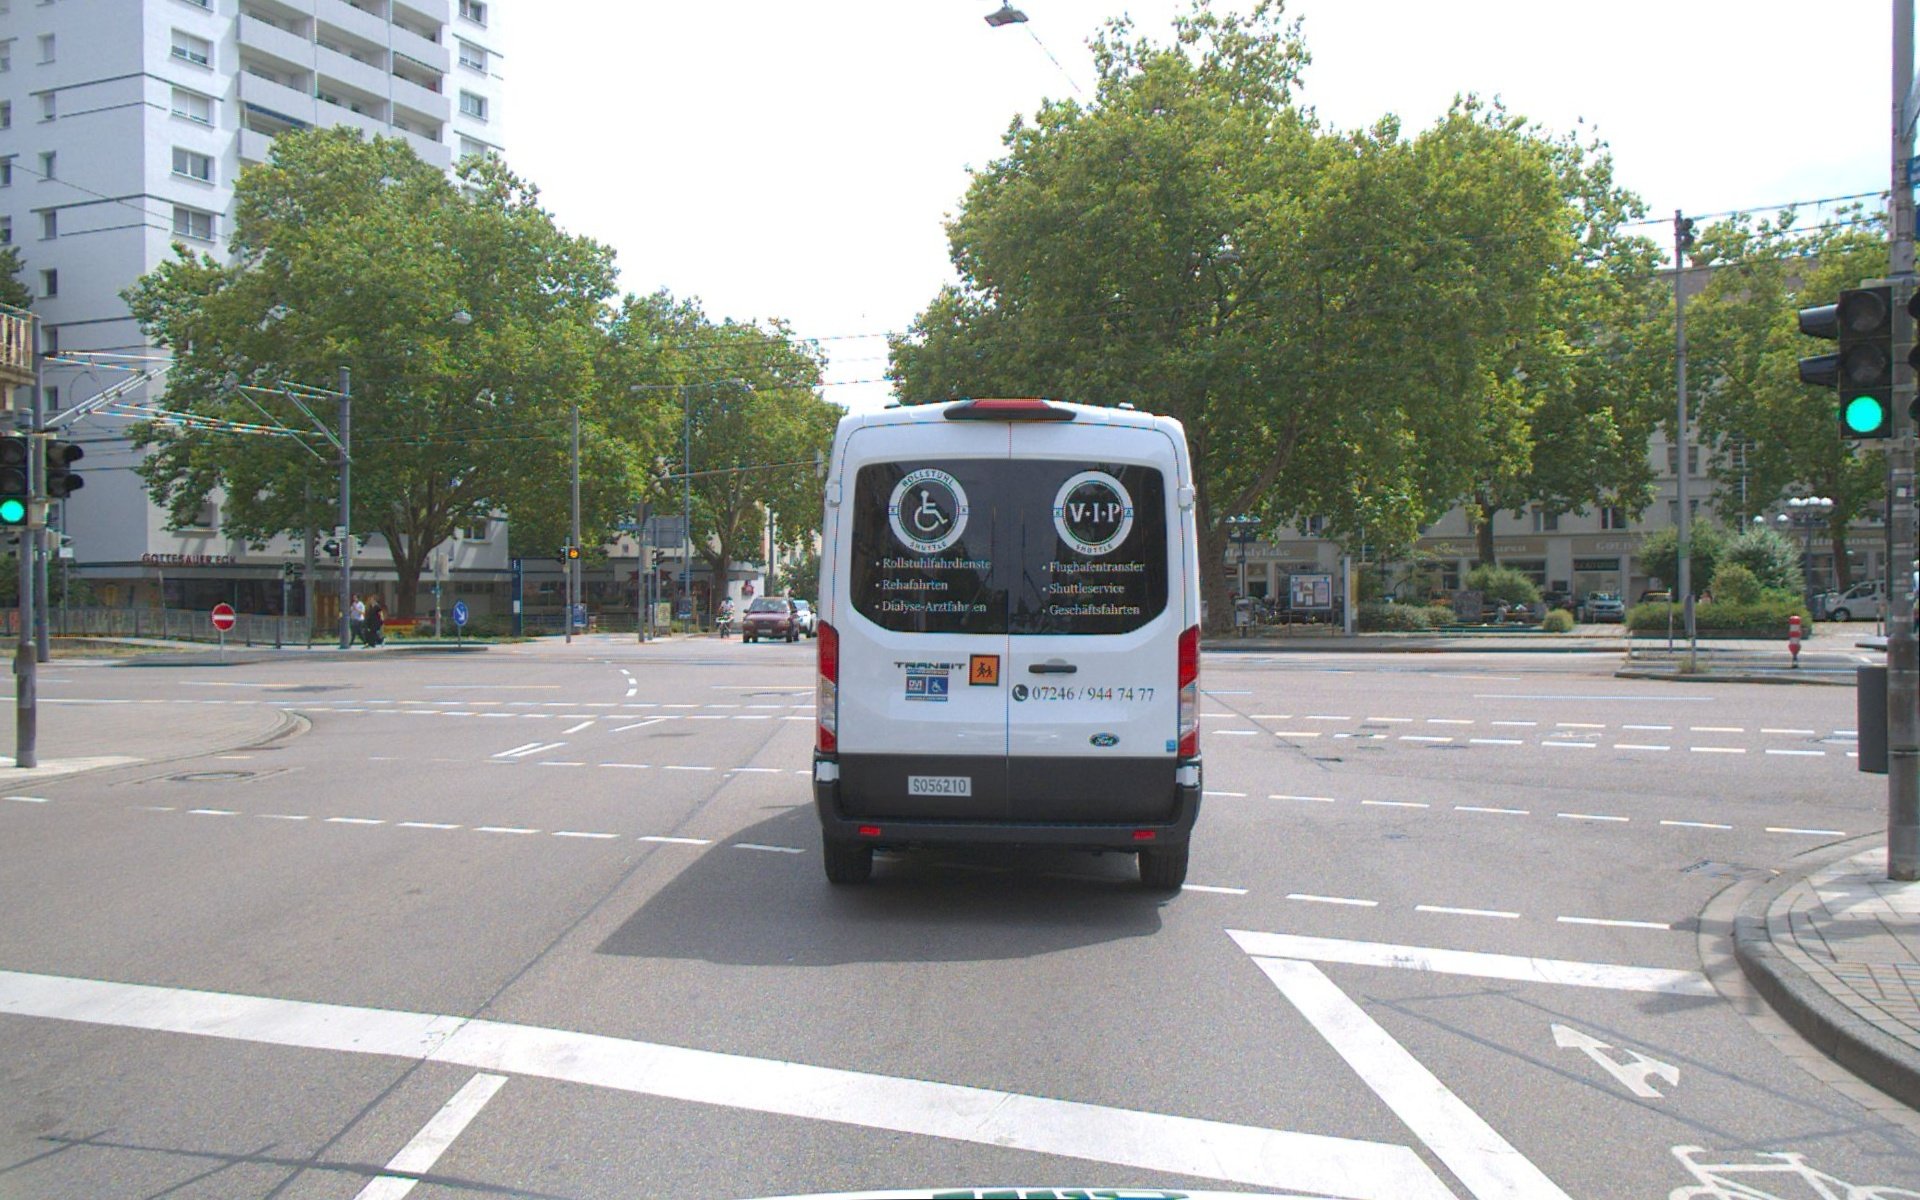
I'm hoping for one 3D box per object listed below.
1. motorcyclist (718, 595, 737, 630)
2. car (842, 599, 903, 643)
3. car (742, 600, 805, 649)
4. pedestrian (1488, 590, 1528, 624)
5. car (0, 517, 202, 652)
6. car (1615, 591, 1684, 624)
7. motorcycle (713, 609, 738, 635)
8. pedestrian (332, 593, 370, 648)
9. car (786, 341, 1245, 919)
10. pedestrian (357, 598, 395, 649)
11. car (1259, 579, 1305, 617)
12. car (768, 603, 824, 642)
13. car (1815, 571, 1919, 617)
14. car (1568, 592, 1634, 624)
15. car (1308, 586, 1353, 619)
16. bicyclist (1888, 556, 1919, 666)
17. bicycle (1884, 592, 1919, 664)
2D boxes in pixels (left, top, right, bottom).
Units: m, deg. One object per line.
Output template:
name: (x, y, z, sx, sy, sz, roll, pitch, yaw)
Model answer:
motorcyclist: (-9.502, 0.520, 67.504, 0.669, 1.420, 0.681, -1, 0, -1)
car: (-3.036, 0.723, 57.937, 1.794, 1.452, 4.122, -1, 0, 1)
car: (-6.086, 0.780, 54.156, 1.559, 1.534, 3.807, -1, 0, 1)
pedestrian: (21.334, 0.281, 64.412, 1.068, 1.257, 1.441, -3, -1, 4)
car: (-28.979, -0.433, 52.483, 9.686, 3.984, 3.454, -1, 0, 24)
car: (34.096, 0.358, 81.869, 1.951, 1.545, 4.002, -1, 0, 4)
motorcycle: (-9.484, 0.883, 66.901, 0.669, 0.988, 2.323, -1, 0, 0)
pedestrian: (-18.087, 0.599, 49.131, 0.791, 1.600, 0.722, -1, 0, 29)
car: (0.192, 0.100, 10.113, 2.138, 2.694, 4.627, -1, 1, -2)
pedestrian: (-17.841, 0.711, 50.553, 0.914, 1.541, 0.720, -1, 0, 38)
car: (17.249, -0.118, 88.748, 1.951, 1.964, 4.002, -1, 0, 4)
car: (-6.484, 0.863, 65.613, 1.707, 1.452, 4.033, -1, 0, 1)
car: (39.969, -0.257, 72.900, 3.907, 1.916, 1.856, -1, 0, 24)
car: (31.891, 0.389, 82.342, 1.951, 1.529, 4.002, -1, 0, 4)
car: (19.686, 0.125, 88.059, 1.767, 1.713, 4.002, -1, 0, 4)
bicyclist: (15.195, 0.164, 26.089, 0.885, 1.713, 0.756, -1, 0, 24)
bicycle: (15.196, 0.428, 26.126, 0.885, 1.094, 1.968, -1, 0, 25)
